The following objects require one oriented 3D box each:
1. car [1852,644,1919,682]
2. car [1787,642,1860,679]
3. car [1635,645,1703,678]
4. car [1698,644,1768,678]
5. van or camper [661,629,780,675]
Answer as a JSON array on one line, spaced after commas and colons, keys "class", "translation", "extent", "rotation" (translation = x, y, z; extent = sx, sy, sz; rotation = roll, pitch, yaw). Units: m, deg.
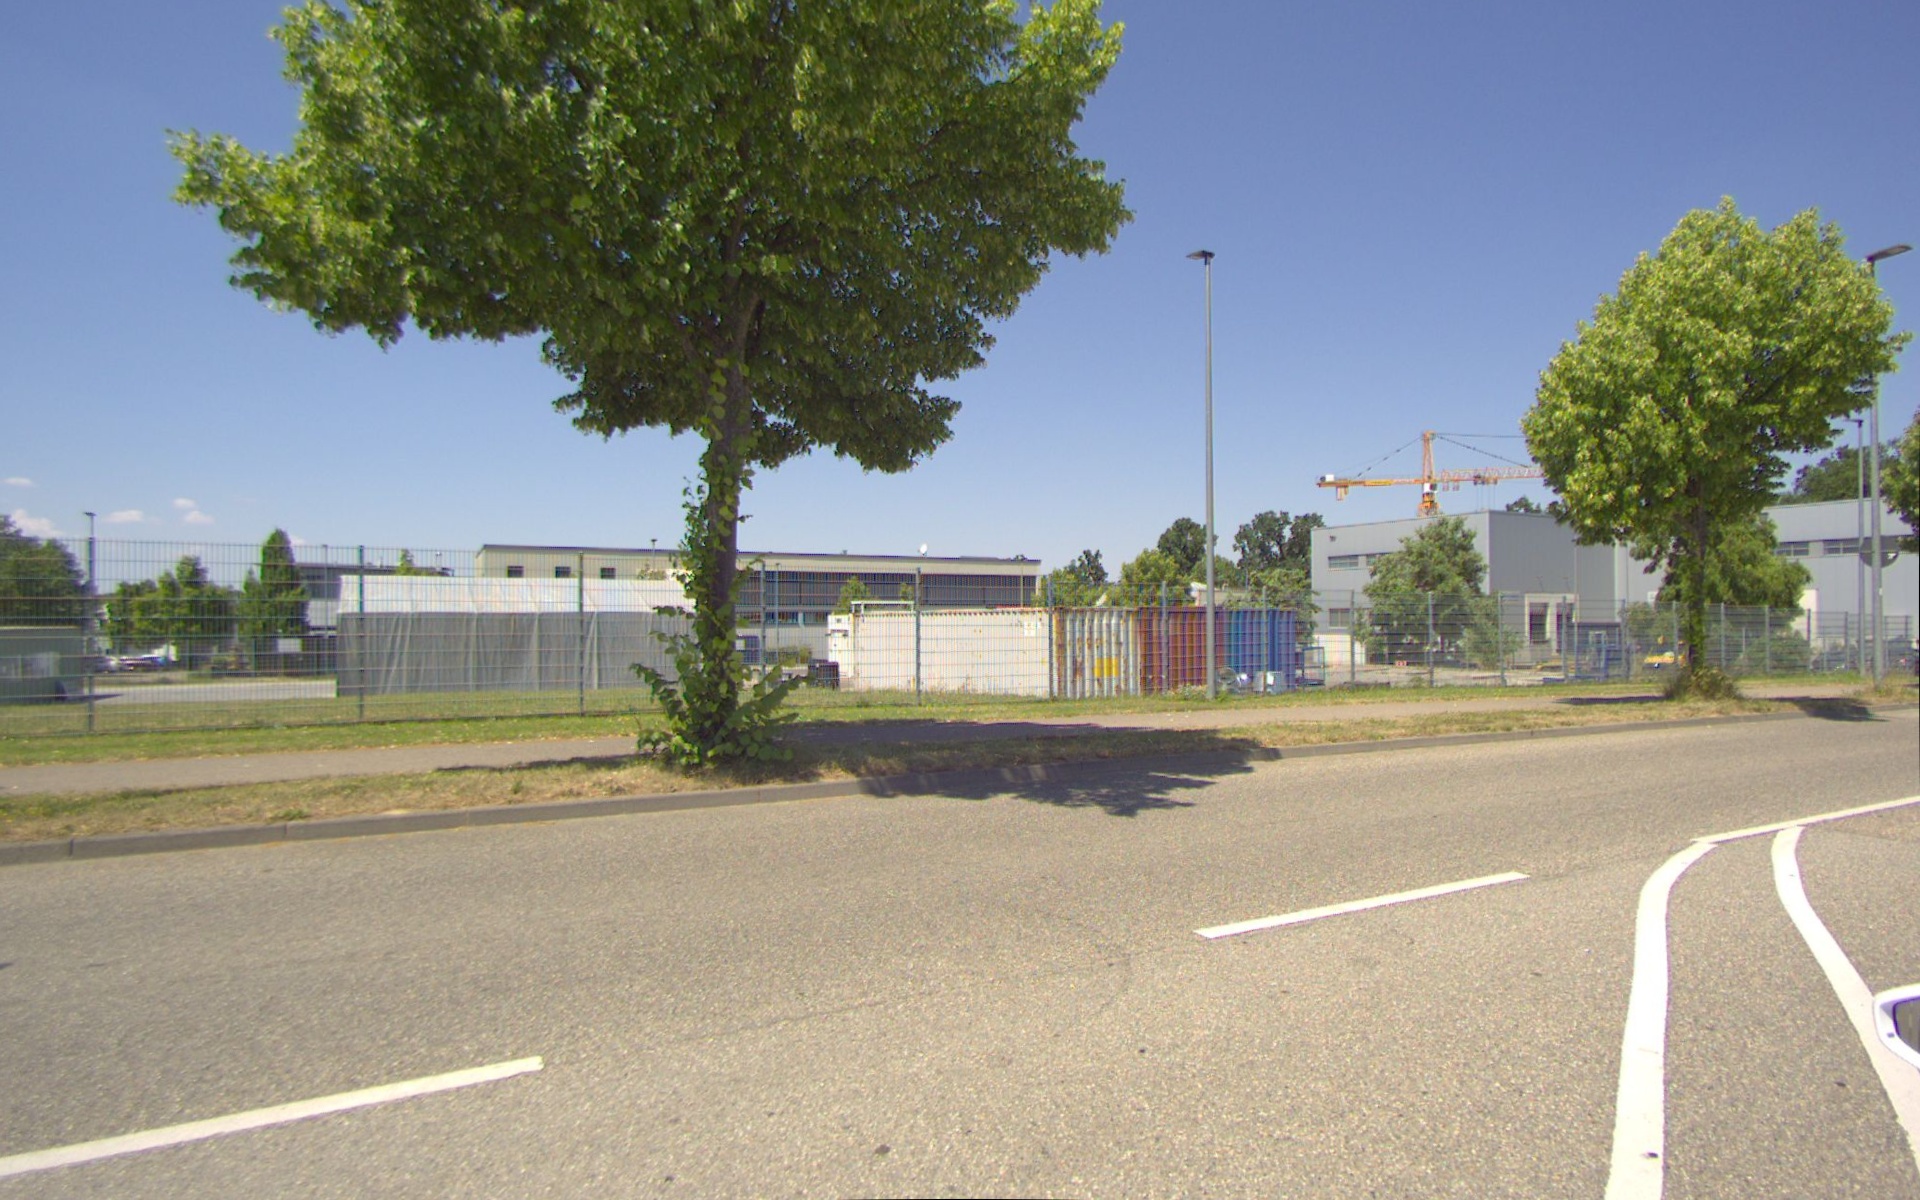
[{"class": "car", "translation": [46.488, 3.134, 50.189], "extent": [3.961, 1.572, 1.981], "rotation": [-3, -1, -36]}, {"class": "car", "translation": [45.089, 3.150, 52.426], "extent": [3.961, 1.572, 1.981], "rotation": [-3, -1, -36]}, {"class": "car", "translation": [40.966, 3.536, 58.003], "extent": [3.961, 1.572, 1.981], "rotation": [-3, -1, -36]}, {"class": "car", "translation": [42.806, 3.367, 55.600], "extent": [3.961, 1.572, 1.981], "rotation": [-3, -1, -36]}, {"class": "van or camper", "translation": [-17.122, 3.678, 72.041], "extent": [7.940, 2.627, 2.187], "rotation": [-3, -1, -31]}]
